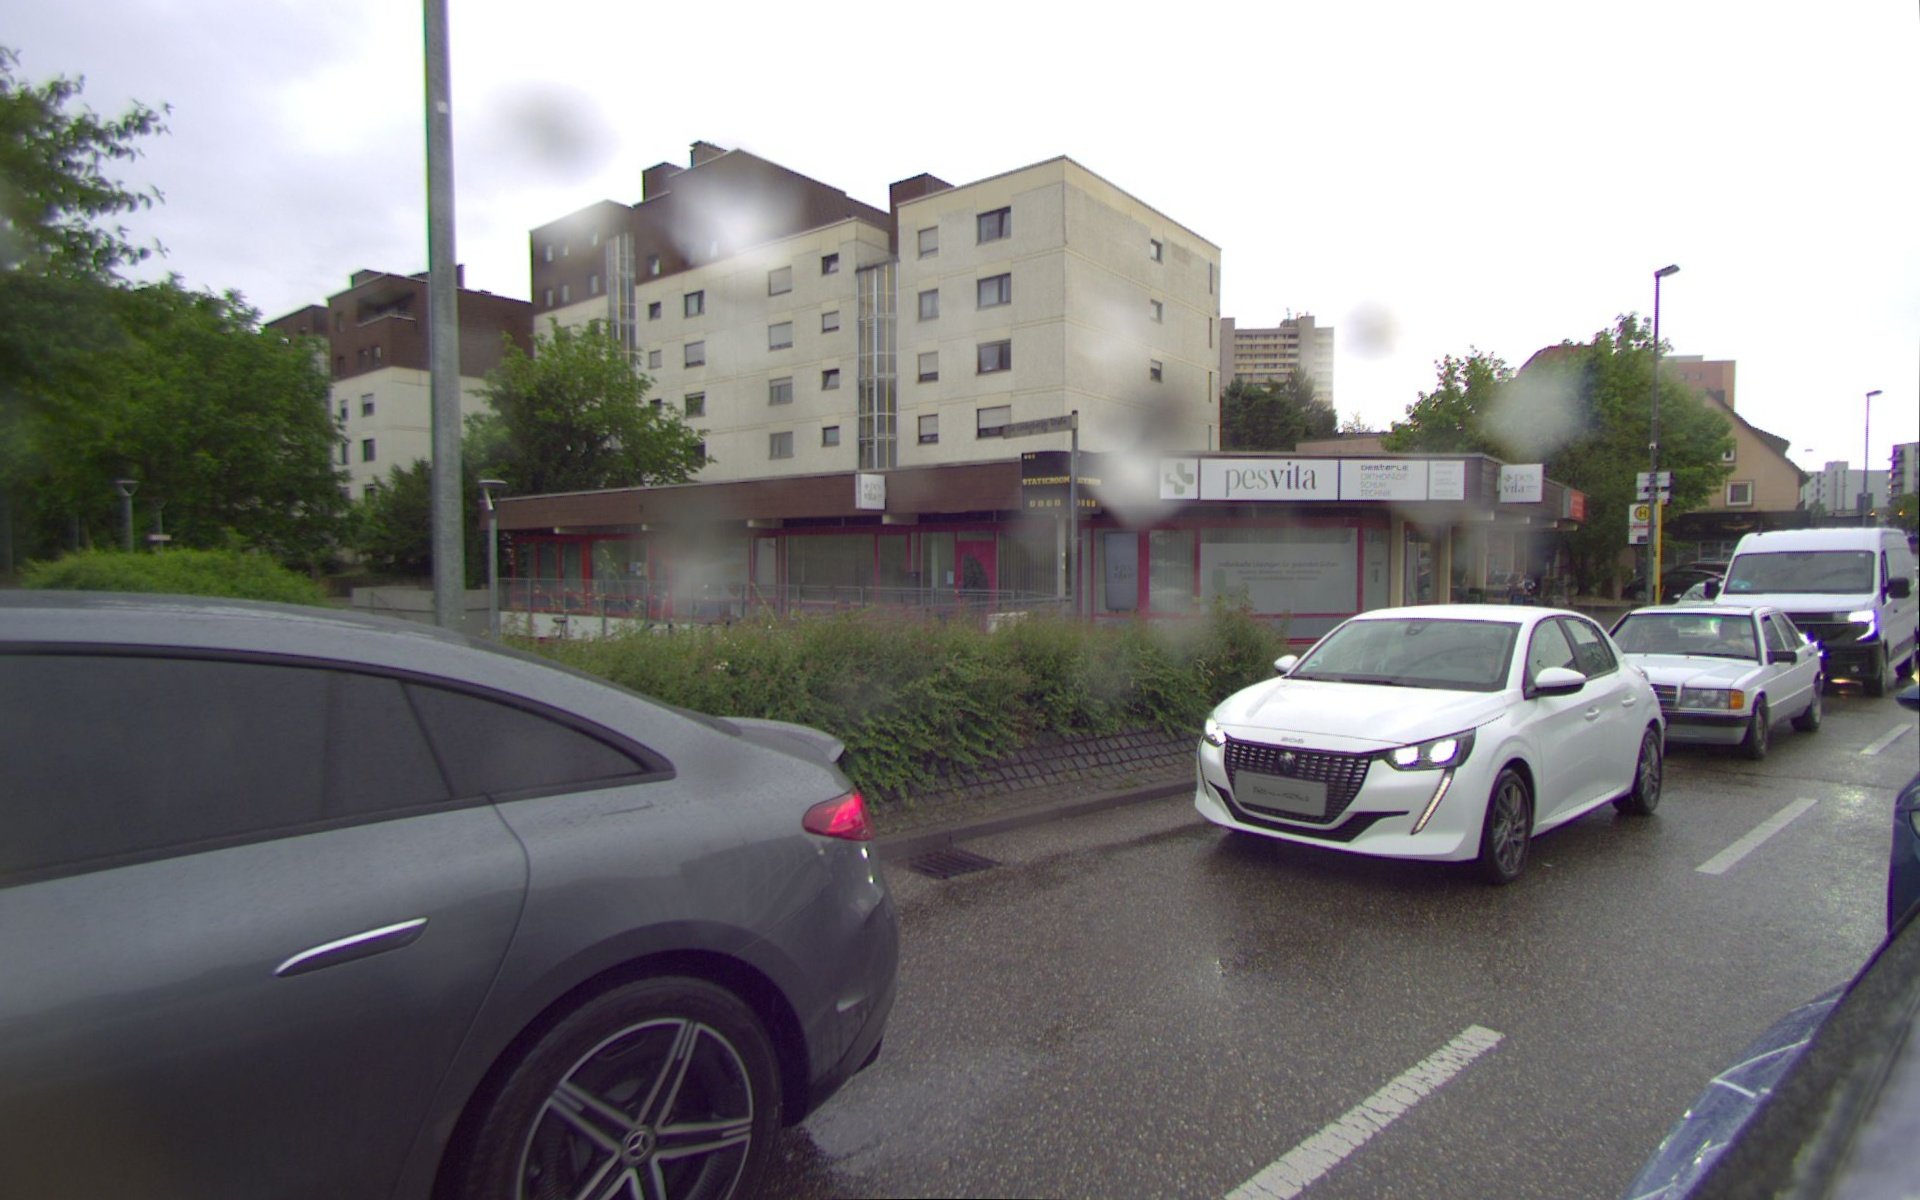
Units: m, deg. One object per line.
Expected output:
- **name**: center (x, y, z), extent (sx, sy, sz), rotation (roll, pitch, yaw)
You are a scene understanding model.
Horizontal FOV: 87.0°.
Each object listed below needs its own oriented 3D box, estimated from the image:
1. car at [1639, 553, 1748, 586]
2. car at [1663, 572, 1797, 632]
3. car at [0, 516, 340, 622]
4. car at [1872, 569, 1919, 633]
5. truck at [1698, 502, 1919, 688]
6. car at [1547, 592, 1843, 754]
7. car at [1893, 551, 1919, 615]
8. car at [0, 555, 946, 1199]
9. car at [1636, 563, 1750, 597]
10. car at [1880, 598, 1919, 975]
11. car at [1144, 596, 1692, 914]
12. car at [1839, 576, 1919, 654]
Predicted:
- **car**: center (33.806, -1.368, 46.664), extent (3.981, 1.438, 1.678), rotation (0, 0, 40)
- **car**: center (20.134, 0.013, 26.415), extent (3.737, 1.367, 1.998), rotation (0, 4, -41)
- **car**: center (-20.049, -0.805, 25.870), extent (2.774, 2.300, 6.699), rotation (3, 3, 29)
- **car**: center (25.156, 0.055, 26.217), extent (3.933, 1.571, 1.995), rotation (1, 0, -44)
- **truck**: center (14.016, -0.101, 16.265), extent (6.091, 2.470, 2.167), rotation (0, 1, -41)
- **car**: center (7.747, 0.618, 10.561), extent (3.669, 1.395, 1.716), rotation (0, 0, -41)
- **car**: center (32.732, -0.536, 33.625), extent (3.929, 2.038, 1.998), rotation (0, 3, -40)
- **car**: center (-2.315, 0.670, 1.814), extent (4.471, 1.462, 1.834), rotation (0, 0, -41)
- **car**: center (32.582, -0.868, 45.019), extent (3.981, 1.438, 1.971), rotation (0, 0, 40)
- **car**: center (5.353, 0.679, 4.254), extent (3.640, 1.359, 1.786), rotation (0, 1, -41)
- **car**: center (3.123, 0.693, 6.513), extent (3.965, 1.415, 1.716), rotation (0, 0, -41)
- **car**: center (20.090, 0.298, 21.444), extent (3.612, 1.505, 1.641), rotation (0, -3, -41)
